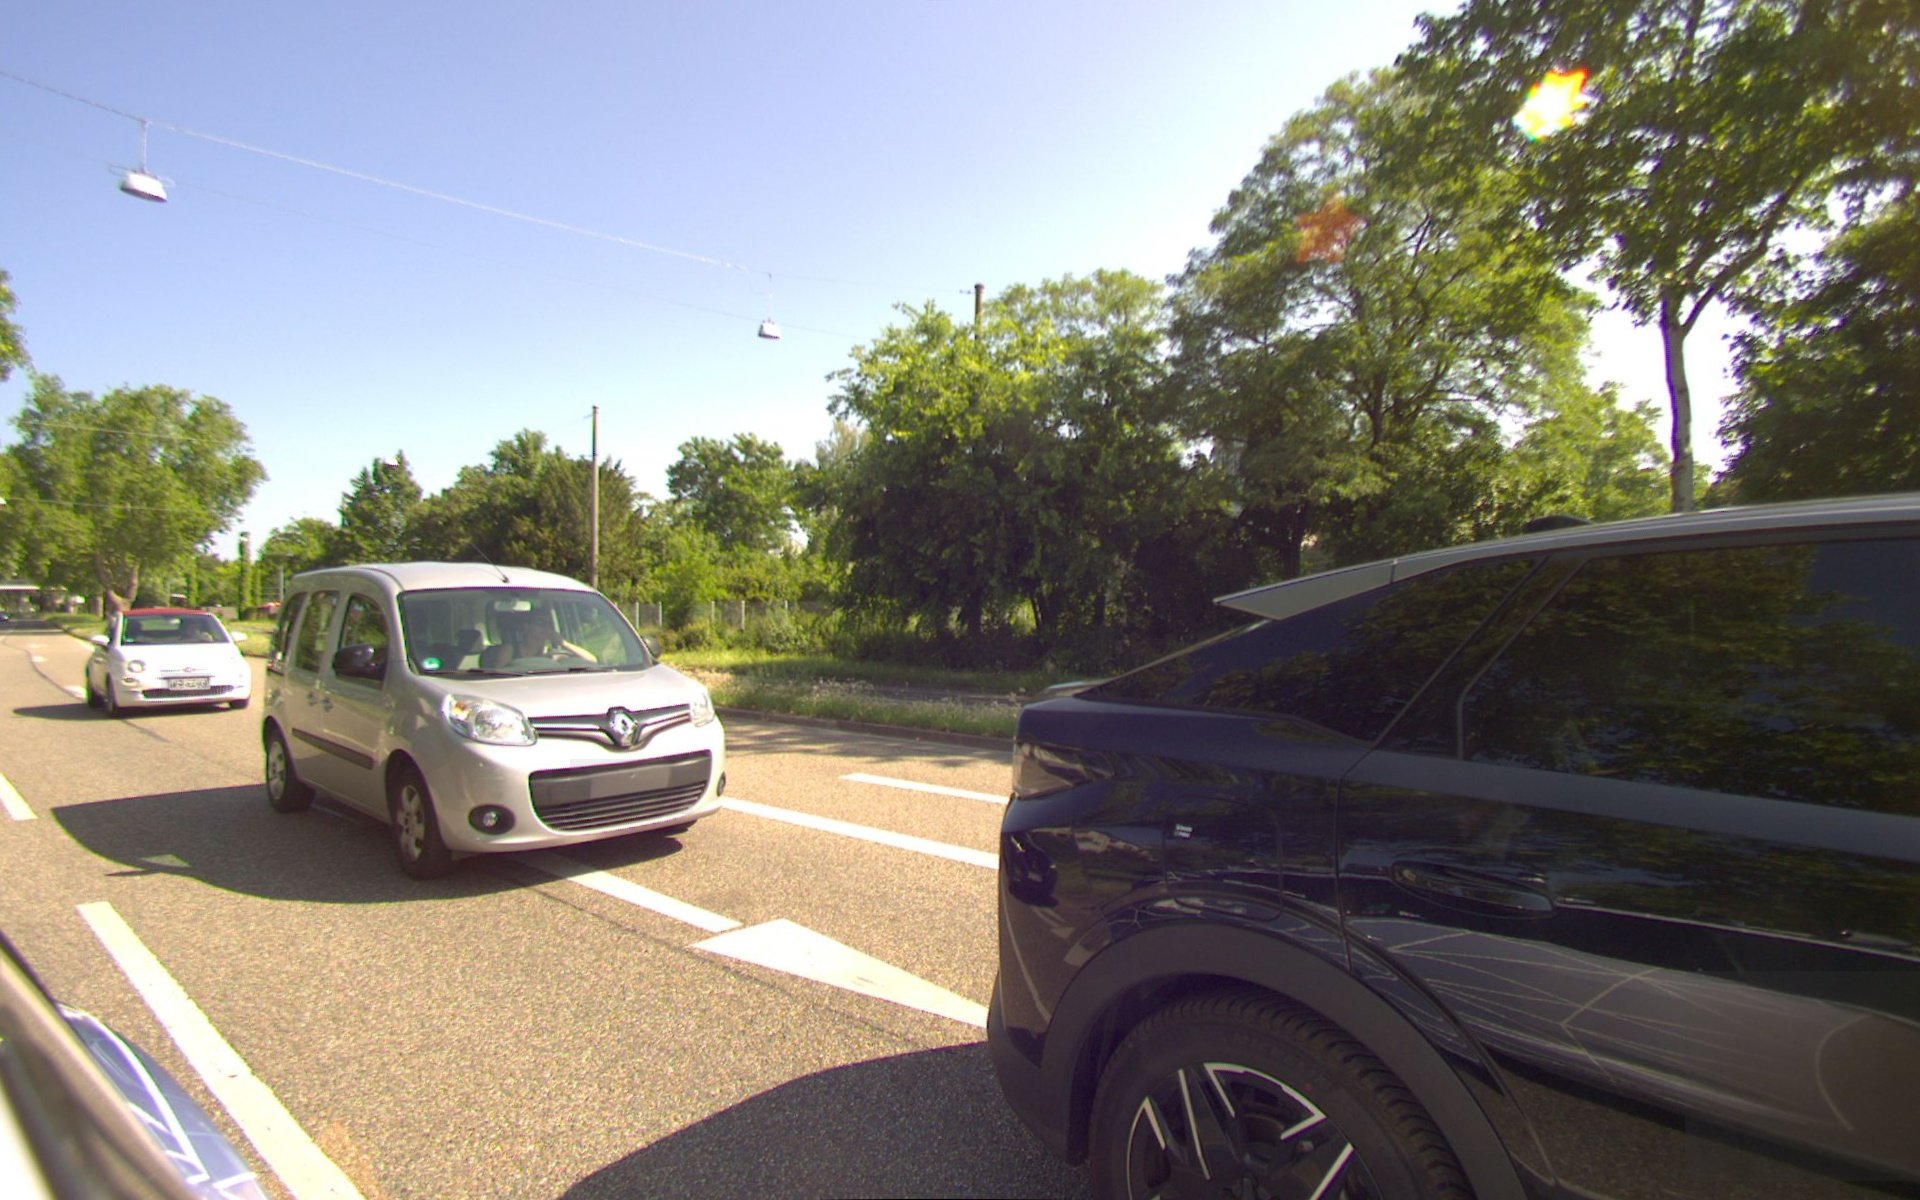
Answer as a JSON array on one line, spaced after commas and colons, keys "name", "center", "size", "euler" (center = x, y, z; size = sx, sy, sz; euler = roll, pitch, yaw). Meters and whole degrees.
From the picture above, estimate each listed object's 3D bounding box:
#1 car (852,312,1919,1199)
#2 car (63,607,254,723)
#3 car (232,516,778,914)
[{"name": "car", "center": [2.030, 0.529, 1.497], "size": [4.433, 1.709, 1.853], "euler": [-1, -1, 41]}, {"name": "car", "center": [-12.354, 0.889, 15.485], "size": [4.376, 1.502, 1.666], "euler": [-1, 0, 43]}, {"name": "car", "center": [-3.320, 0.567, 6.906], "size": [4.375, 1.854, 1.852], "euler": [-1, -1, 43]}]
